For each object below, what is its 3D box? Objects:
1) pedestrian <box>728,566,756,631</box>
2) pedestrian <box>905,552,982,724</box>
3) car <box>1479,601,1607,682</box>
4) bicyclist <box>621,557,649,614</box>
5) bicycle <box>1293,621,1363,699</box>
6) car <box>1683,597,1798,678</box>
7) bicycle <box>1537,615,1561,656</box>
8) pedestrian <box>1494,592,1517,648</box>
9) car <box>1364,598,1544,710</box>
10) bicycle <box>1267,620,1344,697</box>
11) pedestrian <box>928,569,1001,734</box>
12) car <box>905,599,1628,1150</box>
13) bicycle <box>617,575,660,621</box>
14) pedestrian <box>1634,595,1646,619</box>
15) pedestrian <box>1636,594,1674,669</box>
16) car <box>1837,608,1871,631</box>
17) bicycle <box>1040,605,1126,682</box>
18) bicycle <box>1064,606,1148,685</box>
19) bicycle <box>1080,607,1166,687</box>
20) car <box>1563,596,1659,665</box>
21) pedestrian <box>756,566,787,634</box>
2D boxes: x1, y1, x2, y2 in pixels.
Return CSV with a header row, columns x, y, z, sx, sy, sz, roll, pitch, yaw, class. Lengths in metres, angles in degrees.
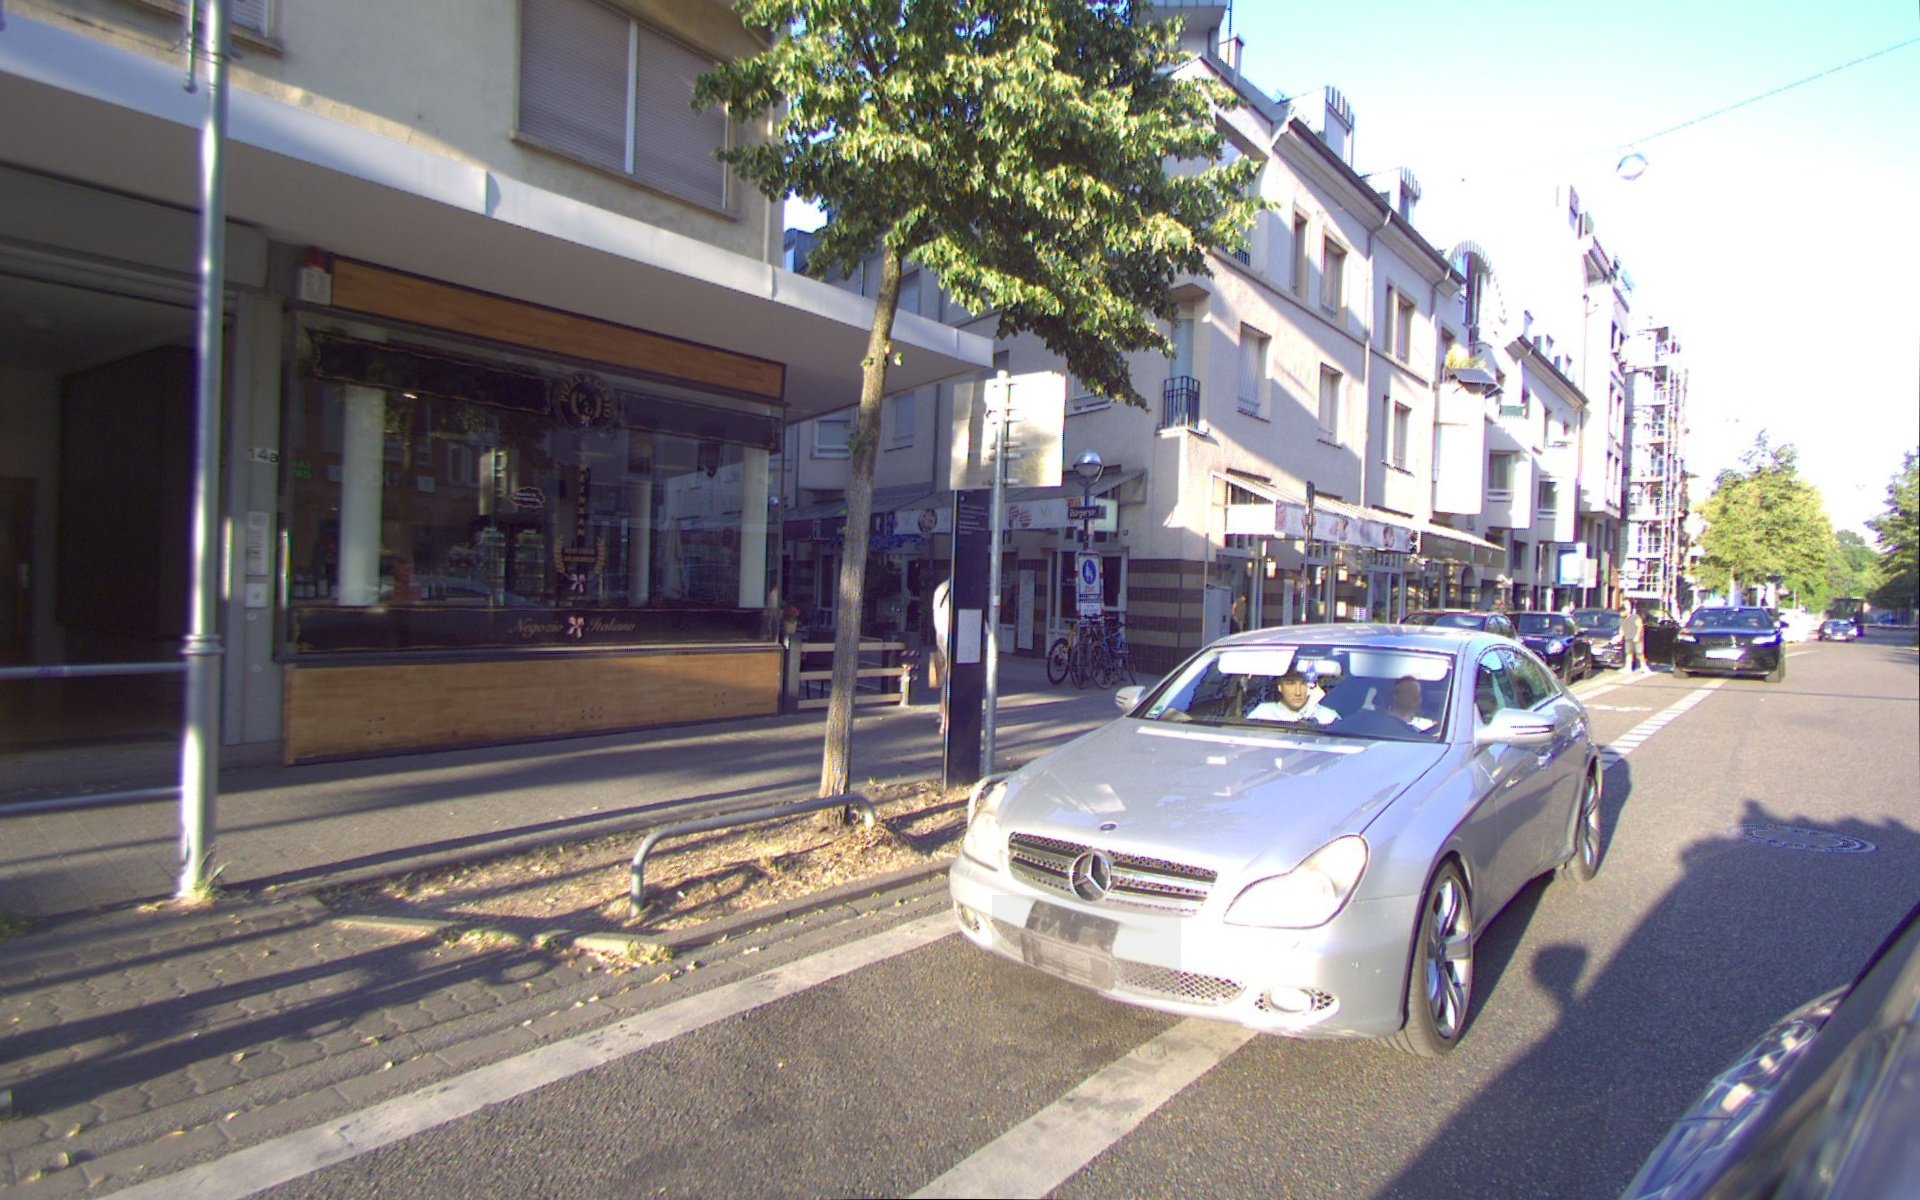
x,y,z,sx,sy,sz,roll,pitch,yaw,class
-5.740,-0.049,26.658,0.641,1.675,0.569,2,0,-15,pedestrian
-0.182,0.397,10.958,0.543,1.779,0.495,6,3,41,pedestrian
12.195,0.790,21.067,1.615,1.452,3.868,3,1,40,car
-8.574,-0.387,26.690,0.453,1.453,0.719,4,-1,-34,bicyclist
5.444,0.861,14.917,0.314,1.059,1.638,3,2,43,bicycle
17.927,0.784,23.175,1.884,1.656,4.164,0,0,41,car
16.314,0.978,28.032,0.295,1.099,1.441,1,0,41,bicycle
17.823,0.650,33.064,0.574,1.823,0.443,0,-1,42,pedestrian
7.779,0.744,15.776,1.587,1.452,3.868,4,2,40,car
5.195,0.847,15.139,0.314,1.059,1.852,3,2,43,bicycle
0.048,0.508,10.357,0.519,1.612,0.402,6,3,41,pedestrian
1.926,0.769,4.950,1.740,1.419,4.571,0,-2,40,car
-8.437,-0.072,26.507,0.456,1.161,1.979,4,-1,-34,bicycle
36.262,0.357,53.934,0.490,1.279,0.415,0,-1,42,pedestrian
16.842,0.747,24.535,0.629,1.771,0.660,3,1,41,pedestrian
58.843,1.266,66.655,1.616,1.492,3.634,0,0,41,car
1.930,0.650,15.724,0.320,1.118,1.851,2,1,41,bicycle
2.247,0.664,15.422,0.290,1.118,1.859,2,1,41,bicycle
2.472,0.679,15.214,0.320,1.118,1.851,2,1,41,bicycle
17.098,0.753,26.500,1.615,1.612,3.868,2,1,40,car
-4.828,-0.009,25.875,0.688,1.696,0.799,2,2,-13,pedestrian
